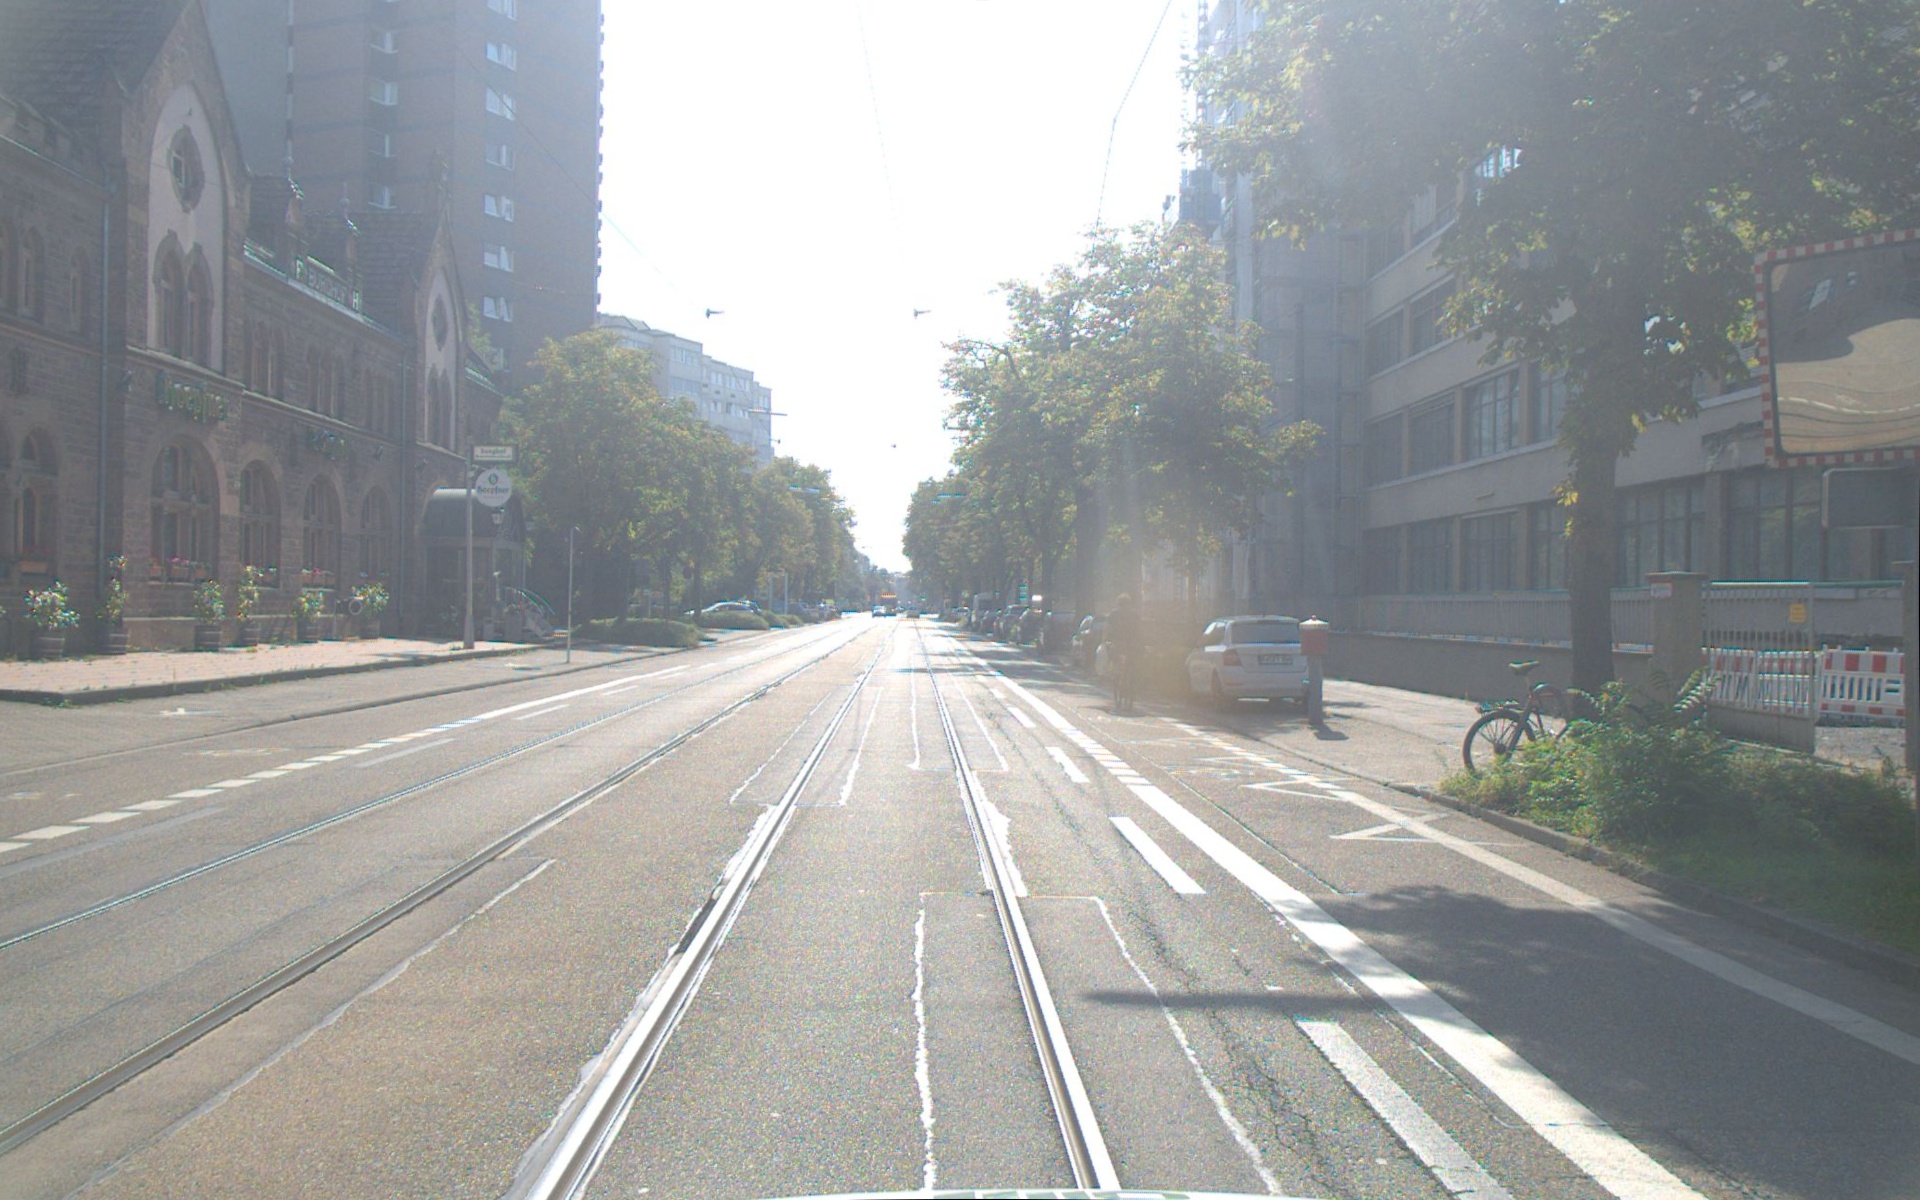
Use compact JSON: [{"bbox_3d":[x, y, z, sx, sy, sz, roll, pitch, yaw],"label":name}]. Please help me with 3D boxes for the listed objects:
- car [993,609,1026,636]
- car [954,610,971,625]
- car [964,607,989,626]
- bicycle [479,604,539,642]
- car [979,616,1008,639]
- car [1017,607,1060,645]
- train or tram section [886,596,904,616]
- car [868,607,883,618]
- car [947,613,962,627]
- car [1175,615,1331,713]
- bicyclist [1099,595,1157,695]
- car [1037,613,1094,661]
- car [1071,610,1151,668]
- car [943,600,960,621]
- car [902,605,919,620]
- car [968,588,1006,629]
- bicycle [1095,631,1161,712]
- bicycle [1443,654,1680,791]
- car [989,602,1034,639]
[{"bbox_3d":[2.667,1.226,90.418,1.584,1.438,3.999,0,-1,-1],"label":"car"},{"bbox_3d":[0.252,1.773,163.576,1.655,1.443,3.633,1,-1,-1],"label":"car"},{"bbox_3d":[1.280,1.305,130.055,1.718,1.402,4.717,-1,-1,-2],"label":"car"},{"bbox_3d":[-14.709,0.743,53.920,1.779,1.093,0.418,6,-3,-24],"label":"bicycle"},{"bbox_3d":[2.005,1.667,100.840,1.583,1.398,4.826,0,-1,-1],"label":"car"},{"bbox_3d":[3.272,1.064,69.640,1.544,1.511,3.737,-1,0,-1],"label":"car"},{"bbox_3d":[-10.166,1.024,261.389,2.674,2.945,15.448,0,-1,-2],"label":"train or tram section"},{"bbox_3d":[-10.816,1.645,212.331,1.792,1.400,4.510,1,-1,-3],"label":"car"},{"bbox_3d":[-0.607,2.124,177.315,1.562,1.443,3.633,1,-1,-1],"label":"car"},{"bbox_3d":[4.667,0.987,26.847,1.607,1.455,3.986,0,-1,-3],"label":"car"},{"bbox_3d":[2.582,0.688,25.530,0.771,1.495,1.116,1,-1,0],"label":"bicyclist"},{"bbox_3d":[3.580,1.238,56.793,1.613,1.537,3.777,-1,-1,-1],"label":"car"},{"bbox_3d":[4.062,1.023,44.979,1.613,1.453,4.082,-1,0,-3],"label":"car"},{"bbox_3d":[-1.079,1.339,205.417,1.964,2.534,4.475,0,-2,-1],"label":"car"},{"bbox_3d":[-6.214,1.604,207.040,1.953,1.870,3.999,1,-1,-1],"label":"car"},{"bbox_3d":[1.765,0.599,110.836,2.041,2.597,5.498,-3,0,-3],"label":"car"},{"bbox_3d":[2.573,1.071,25.533,0.771,1.164,2.304,1,-1,0],"label":"bicycle"},{"bbox_3d":[5.168,1.038,14.284,1.734,1.082,0.795,-1,-1,-4],"label":"bicycle"},{"bbox_3d":[2.452,0.969,79.942,1.718,1.721,4.393,1,0,-4],"label":"car"}]
